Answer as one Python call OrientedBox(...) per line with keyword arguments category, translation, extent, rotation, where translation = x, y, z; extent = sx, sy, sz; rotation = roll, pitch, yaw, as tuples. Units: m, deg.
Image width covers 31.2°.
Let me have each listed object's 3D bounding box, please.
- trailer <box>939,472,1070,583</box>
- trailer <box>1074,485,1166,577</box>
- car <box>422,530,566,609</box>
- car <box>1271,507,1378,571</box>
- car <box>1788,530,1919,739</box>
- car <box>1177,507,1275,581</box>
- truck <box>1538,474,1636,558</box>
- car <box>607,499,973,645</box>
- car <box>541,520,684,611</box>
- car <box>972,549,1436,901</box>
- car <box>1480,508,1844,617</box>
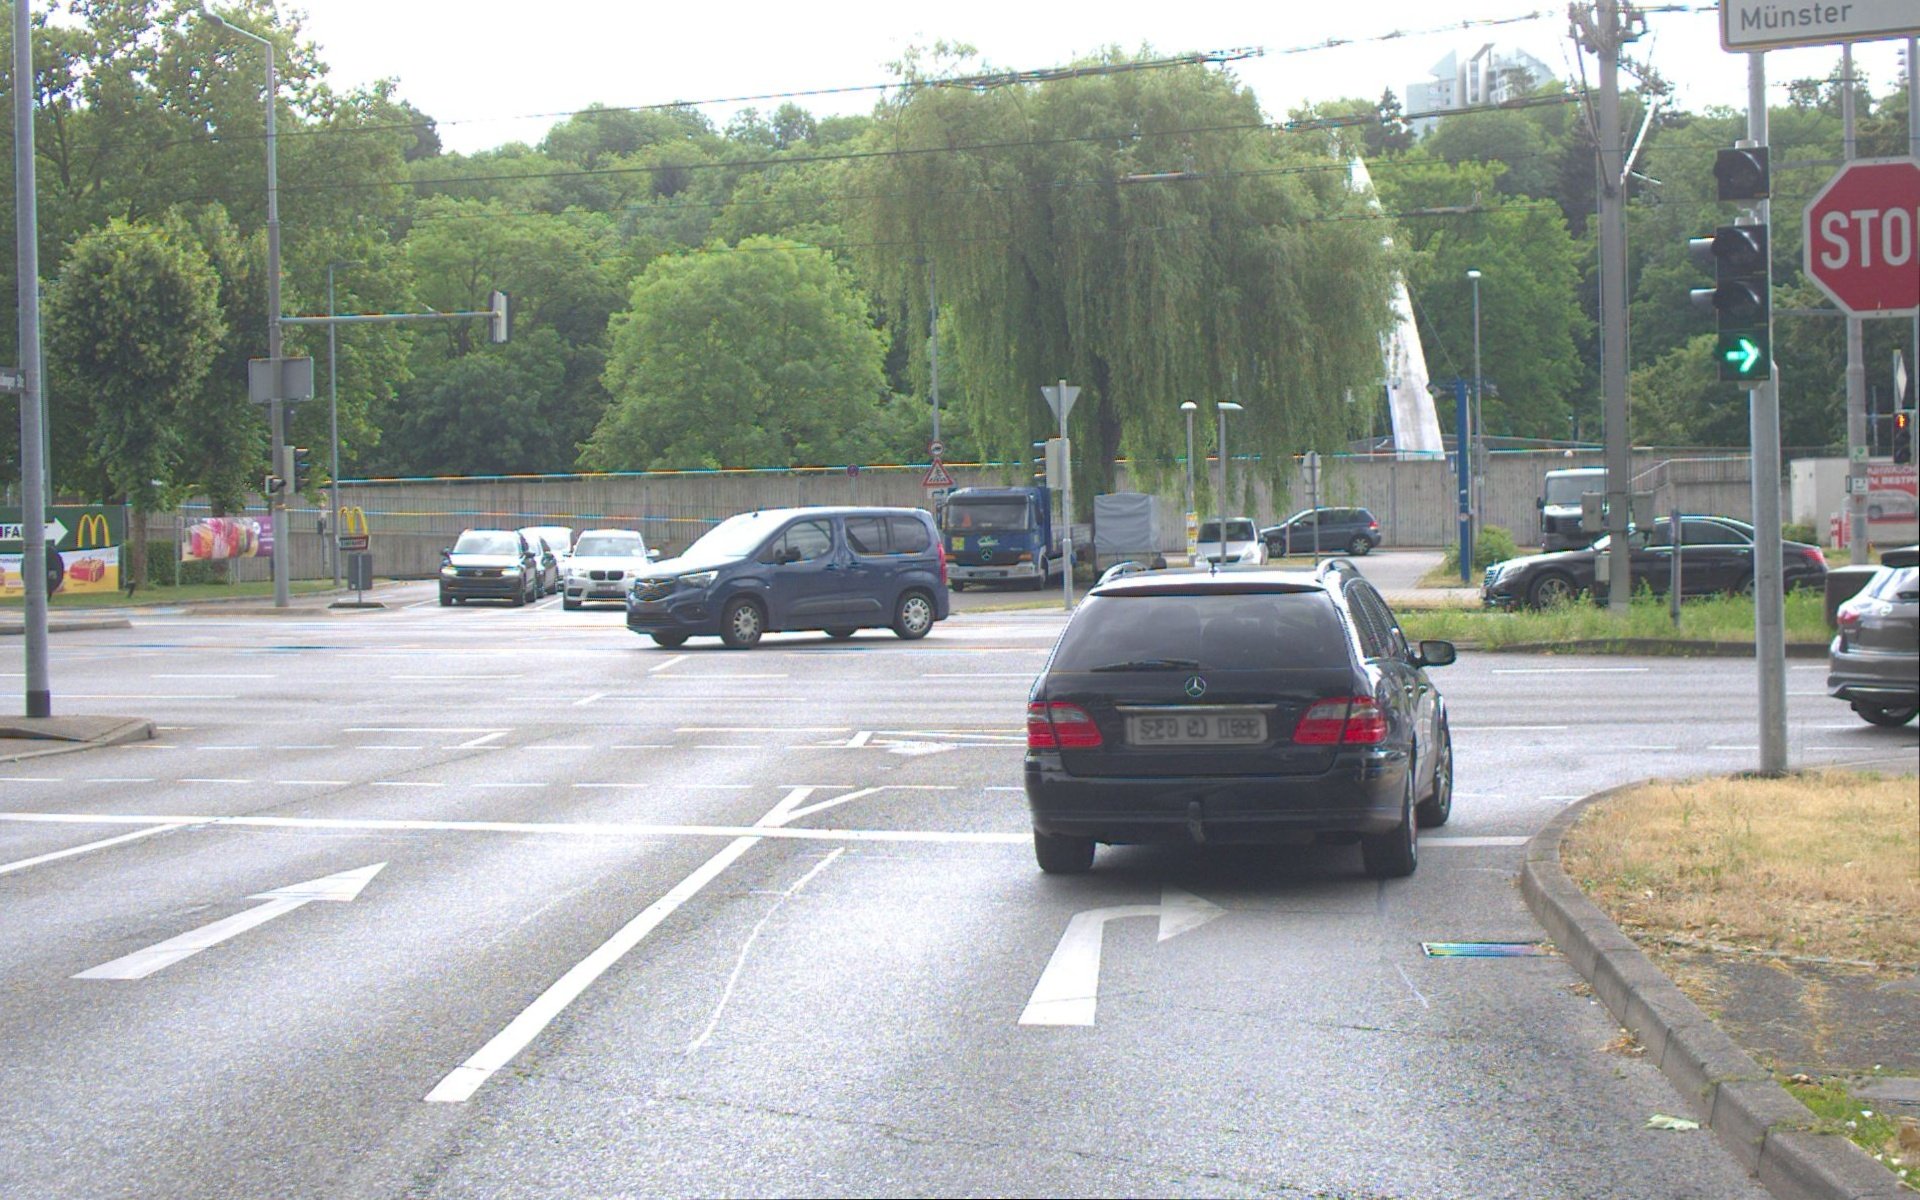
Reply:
OrientedBox(category="trailer", translation=(1.138, -1.758, 84.299), extent=(2.353, 2.573, 4.918), rotation=(-2, 1, 10))
OrientedBox(category="trailer", translation=(4.049, -1.719, 86.312), extent=(1.994, 2.176, 3.999), rotation=(-2, 1, 6))
OrientedBox(category="car", translation=(-10.256, -0.694, 75.901), extent=(1.994, 1.634, 3.999), rotation=(-1, 1, 10))
OrientedBox(category="car", translation=(11.048, -1.848, 104.220), extent=(3.151, 1.812, 1.403), rotation=(-2, 0, 7))
OrientedBox(category="car", translation=(8.654, 0.202, 26.743), extent=(4.134, 1.525, 1.733), rotation=(-2, 2, -26))
OrientedBox(category="car", translation=(6.597, -1.403, 84.965), extent=(1.994, 1.744, 3.999), rotation=(-1, 1, 10))
OrientedBox(category="truck", translation=(15.990, -2.116, 87.893), extent=(2.235, 2.007, 5.239), rotation=(-2, 1, 8))
OrientedBox(category="car", translation=(-2.176, -0.396, 44.734), extent=(4.544, 1.768, 1.607), rotation=(-2, 2, -33))
OrientedBox(category="car", translation=(-7.390, -0.767, 73.558), extent=(1.994, 1.853, 3.999), rotation=(-1, 1, 10))
OrientedBox(category="car", translation=(1.384, 0.524, 17.521), extent=(1.823, 1.504, 4.572), rotation=(-1, 1, 11))
OrientedBox(category="car", translation=(10.304, -0.569, 50.730), extent=(5.051, 1.518, 1.743), rotation=(-1, 1, 4))
